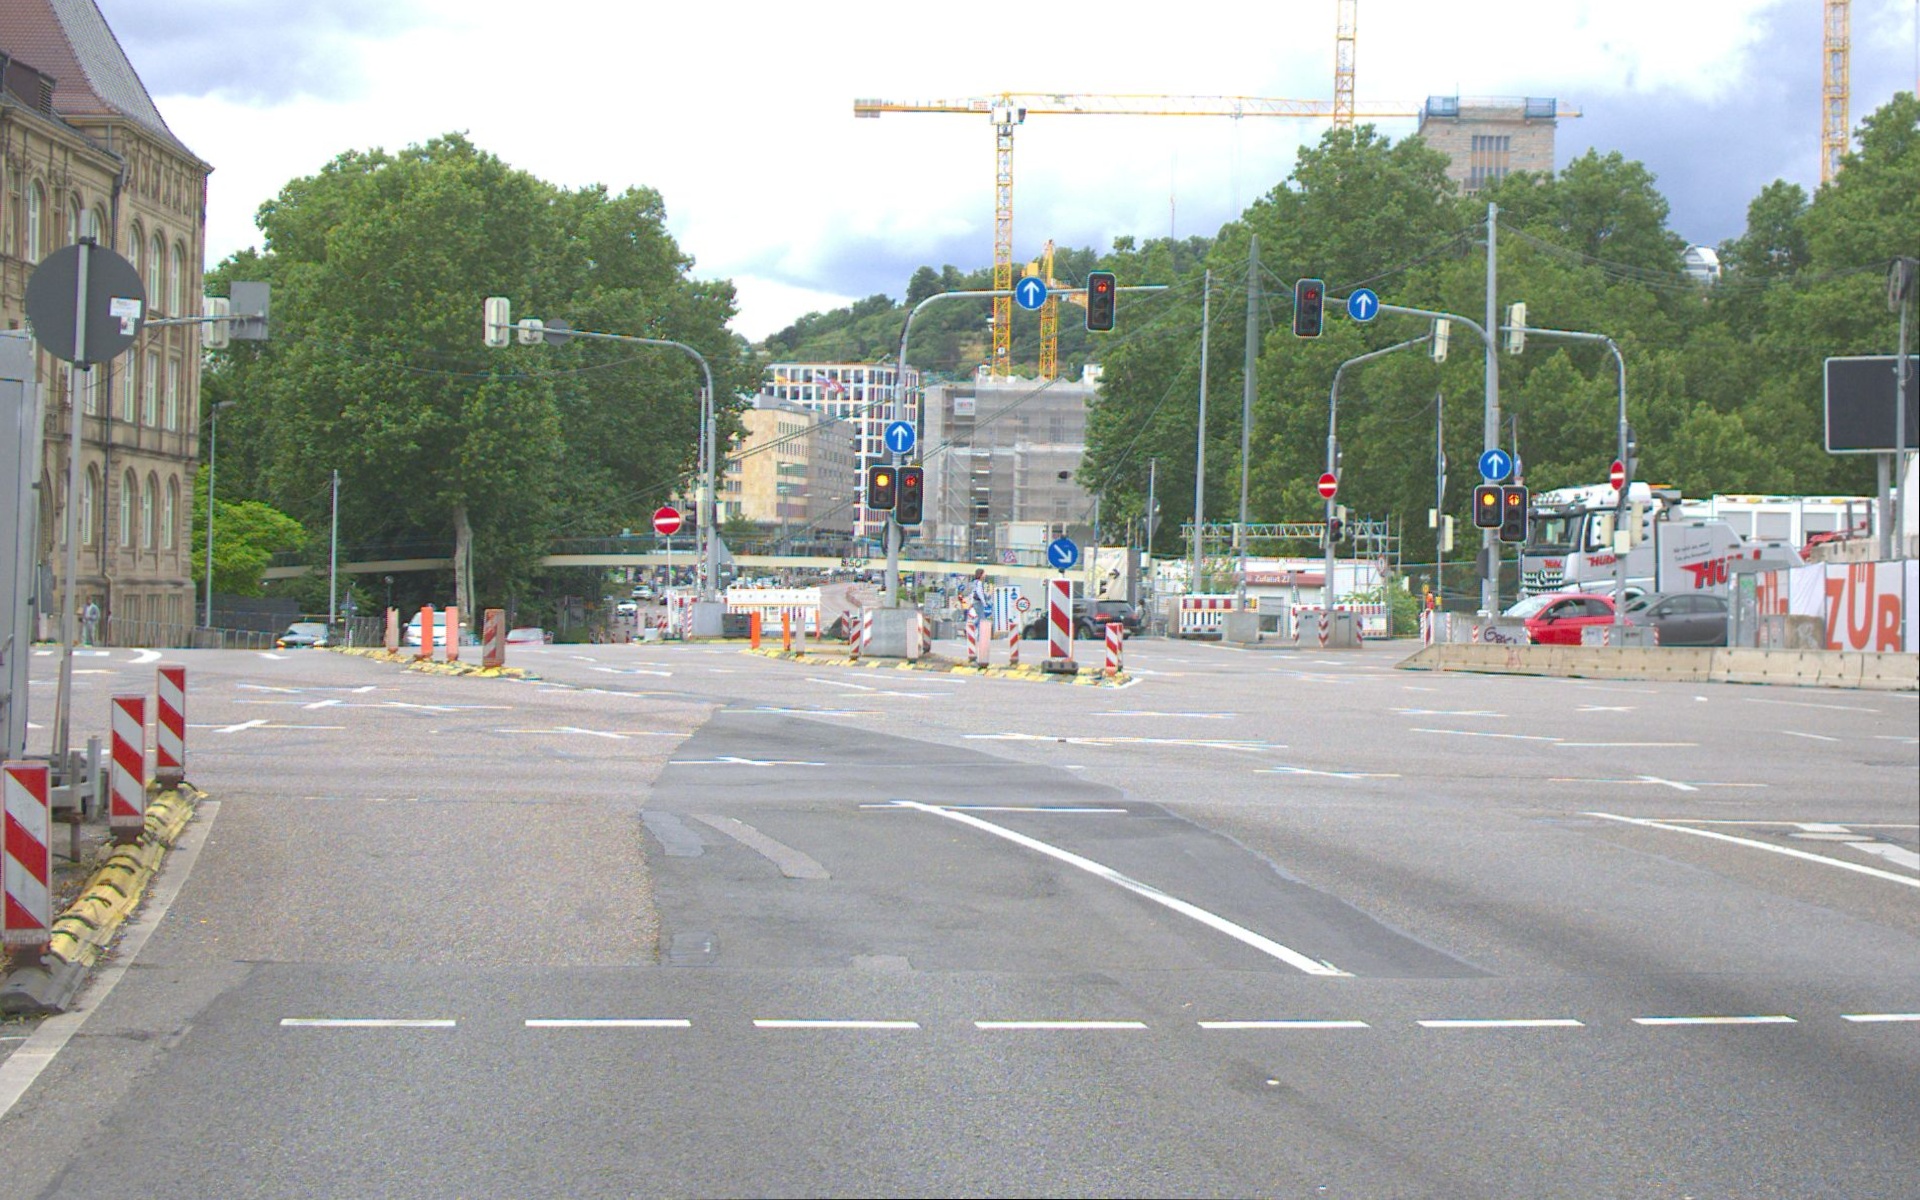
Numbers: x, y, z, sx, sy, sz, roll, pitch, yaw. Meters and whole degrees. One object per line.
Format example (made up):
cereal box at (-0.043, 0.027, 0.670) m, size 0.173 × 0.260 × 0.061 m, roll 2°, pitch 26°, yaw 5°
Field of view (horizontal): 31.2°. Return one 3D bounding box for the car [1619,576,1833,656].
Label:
car at (16.889, 0.359, 75.824) m, size 4.164 × 1.695 × 1.967 m, roll 1°, pitch 1°, yaw -19°

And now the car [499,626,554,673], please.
car at (-18.208, 2.068, 144.670) m, size 1.993 × 1.831 × 4.001 m, roll 1°, pitch 1°, yaw -3°

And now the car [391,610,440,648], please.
car at (-27.623, 1.479, 174.475) m, size 1.993 × 1.831 × 4.001 m, roll 1°, pitch 1°, yaw -3°

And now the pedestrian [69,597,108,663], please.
pedestrian at (-26.644, 0.920, 105.094) m, size 0.950 × 2.007 × 0.766 m, roll 1°, pitch 0°, yaw 2°

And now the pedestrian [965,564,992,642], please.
pedestrian at (0.433, 0.063, 81.954) m, size 0.585 × 1.834 × 0.604 m, roll 1°, pitch 0°, yaw -4°

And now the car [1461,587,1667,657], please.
car at (12.524, 0.458, 71.338) m, size 3.806 × 1.381 × 1.805 m, roll 1°, pitch 1°, yaw -22°

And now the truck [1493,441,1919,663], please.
truck at (17.545, -1.067, 80.296) m, size 9.712 × 4.943 × 3.114 m, roll 1°, pitch 0°, yaw -21°

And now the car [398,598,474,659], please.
car at (-16.640, 0.895, 109.288) m, size 1.993 × 1.831 × 4.001 m, roll 1°, pitch 1°, yaw -3°

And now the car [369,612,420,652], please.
car at (-27.611, 1.546, 167.939) m, size 1.993 × 1.831 × 4.001 m, roll 1°, pitch 1°, yaw -3°

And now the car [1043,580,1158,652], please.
car at (4.038, 0.452, 99.482) m, size 1.993 × 2.007 × 4.001 m, roll 1°, pitch 1°, yaw -19°
